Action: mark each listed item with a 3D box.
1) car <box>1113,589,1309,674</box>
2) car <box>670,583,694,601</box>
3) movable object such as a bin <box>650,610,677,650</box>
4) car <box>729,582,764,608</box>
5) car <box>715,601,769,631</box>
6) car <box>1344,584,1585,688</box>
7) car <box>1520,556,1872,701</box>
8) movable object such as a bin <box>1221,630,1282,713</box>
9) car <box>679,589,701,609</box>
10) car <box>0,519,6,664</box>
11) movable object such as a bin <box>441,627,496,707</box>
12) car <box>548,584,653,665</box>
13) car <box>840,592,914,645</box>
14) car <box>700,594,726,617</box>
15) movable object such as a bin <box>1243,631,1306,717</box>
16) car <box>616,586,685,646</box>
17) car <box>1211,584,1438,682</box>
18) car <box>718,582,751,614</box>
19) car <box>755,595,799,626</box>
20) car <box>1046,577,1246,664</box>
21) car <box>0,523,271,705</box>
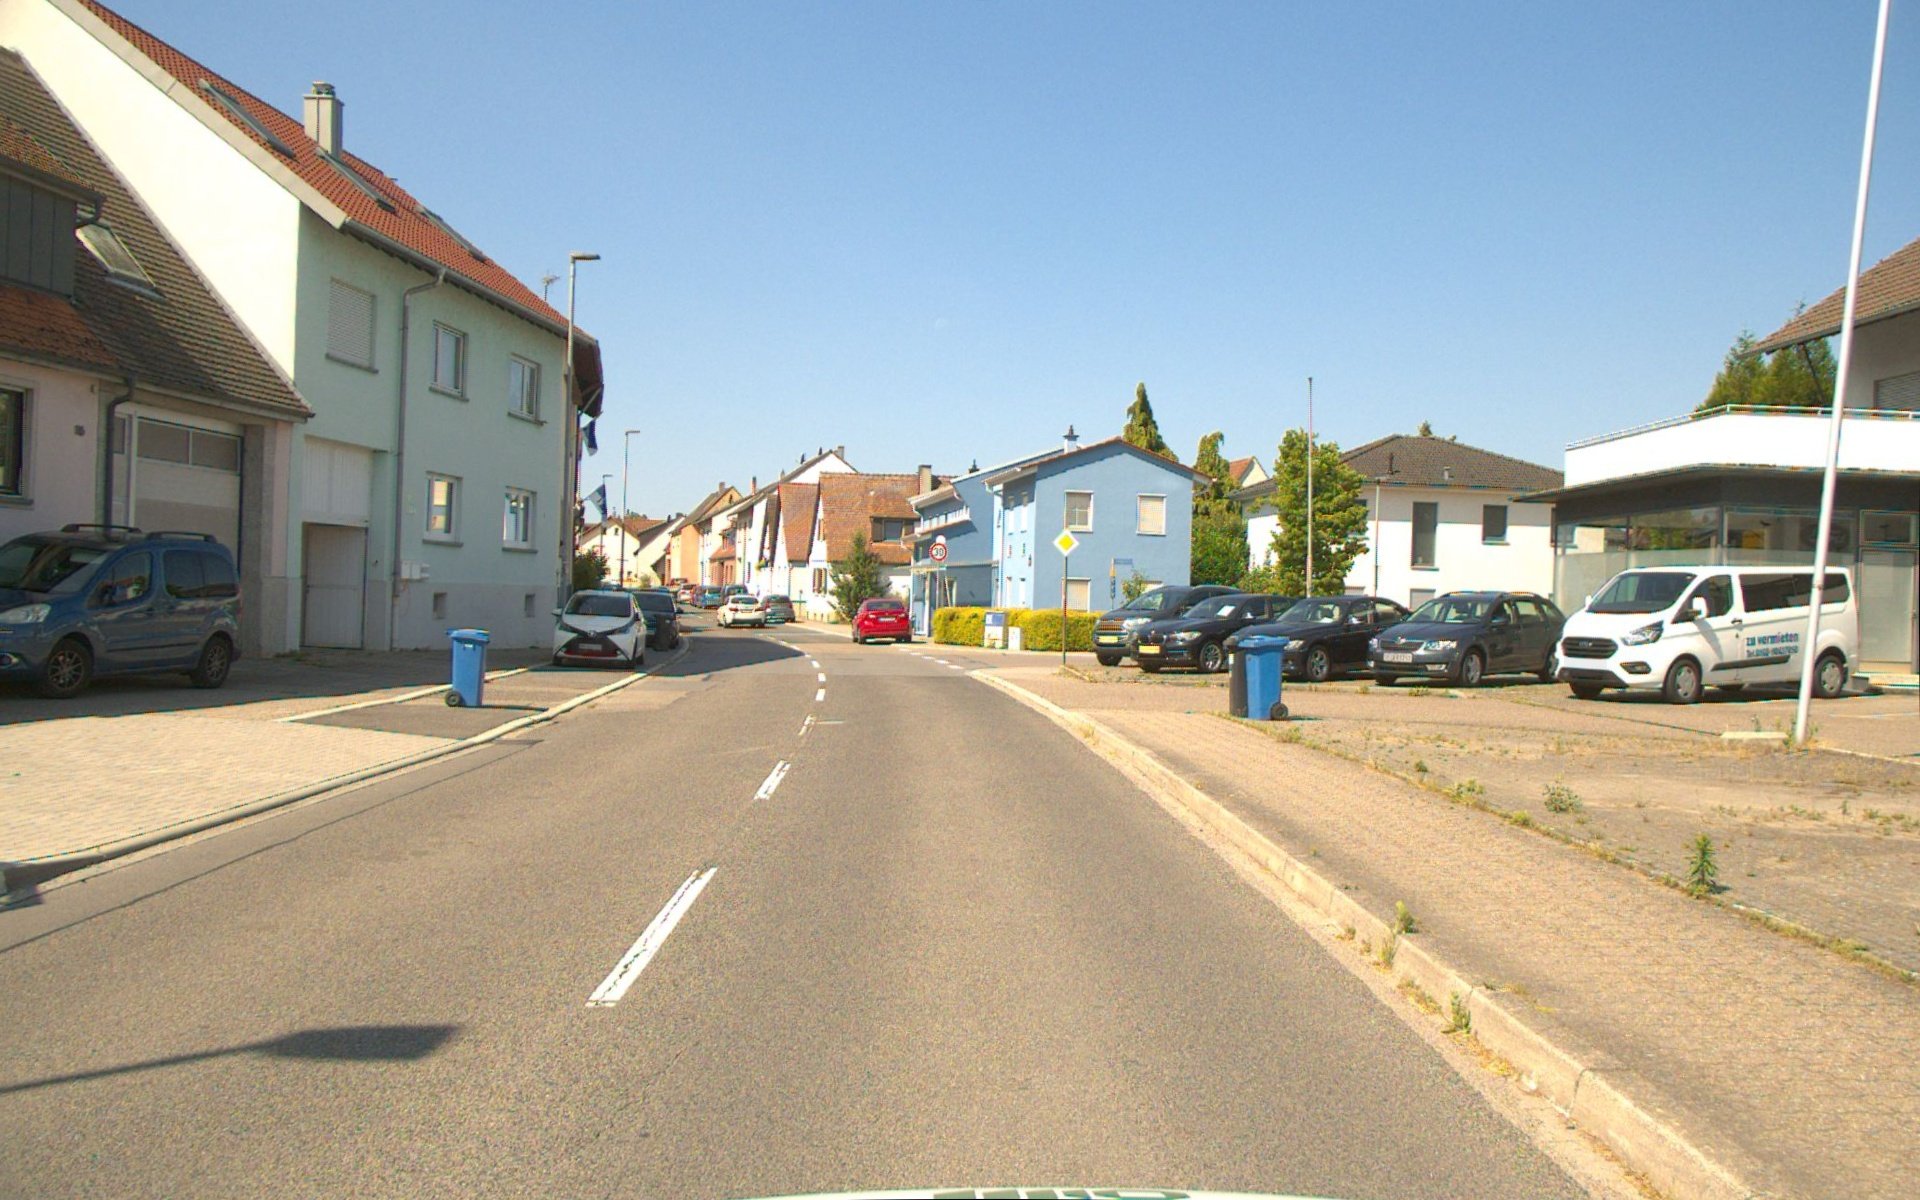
[{"bbox_3d":[4.770,0.572,31.132,3.845,1.472,1.722,1,0,-45],"label":"car"},{"bbox_3d":[-24.052,-0.694,142.947,1.737,1.458,3.437,1,0,-14],"label":"car"},{"bbox_3d":[-7.586,0.774,42.269,0.542,0.944,0.822,6,-1,-15],"label":"movable object such as a bin"},{"bbox_3d":[-13.241,-0.294,102.328,1.676,1.523,3.438,3,0,-15],"label":"car"},{"bbox_3d":[-10.083,0.716,76.253,1.960,1.311,3.984,1,0,-15],"label":"car"},{"bbox_3d":[8.416,0.557,27.414,4.282,1.578,1.953,1,0,-43],"label":"car"},{"bbox_3d":[11.388,0.427,25.542,5.206,2.049,2.212,1,0,-27],"label":"car"},{"bbox_3d":[3.415,0.834,19.381,0.547,0.953,0.513,1,0,-11],"label":"movable object such as a bin"},{"bbox_3d":[-21.971,-0.067,134.657,1.397,1.541,3.290,3,0,-15],"label":"car"},{"bbox_3d":[-10.461,0.060,14.053,1.926,1.805,4.279,2,-1,5],"label":"car"},{"bbox_3d":[-6.108,0.830,20.587,0.547,0.953,0.513,4,-1,-11],"label":"movable object such as a bin"},{"bbox_3d":[-7.161,0.480,33.230,1.652,1.487,3.643,2,-1,-7],"label":"car"},{"bbox_3d":[-2.792,0.586,54.789,1.703,1.520,4.340,0,2,-13],"label":"car"},{"bbox_3d":[-17.557,0.351,117.470,1.397,1.541,3.290,3,0,-15],"label":"car"},{"bbox_3d":[3.586,0.844,18.888,0.547,0.955,0.513,1,0,-11],"label":"movable object such as a bin"},{"bbox_3d":[-8.523,0.432,45.780,1.648,1.462,3.987,5,-1,-9],"label":"car"},{"bbox_3d":[6.460,0.548,29.080,4.208,1.593,1.952,1,0,-45],"label":"car"},{"bbox_3d":[-14.615,-0.155,106.984,1.622,1.943,3.611,3,0,-15],"label":"car"},{"bbox_3d":[-9.495,0.539,85.694,1.676,1.458,3.874,3,0,-15],"label":"car"},{"bbox_3d":[3.843,0.411,33.857,4.076,1.682,1.804,1,0,-41],"label":"car"},{"bbox_3d":[-10.011,0.102,19.016,1.798,1.824,4.346,4,0,8],"label":"car"}]
